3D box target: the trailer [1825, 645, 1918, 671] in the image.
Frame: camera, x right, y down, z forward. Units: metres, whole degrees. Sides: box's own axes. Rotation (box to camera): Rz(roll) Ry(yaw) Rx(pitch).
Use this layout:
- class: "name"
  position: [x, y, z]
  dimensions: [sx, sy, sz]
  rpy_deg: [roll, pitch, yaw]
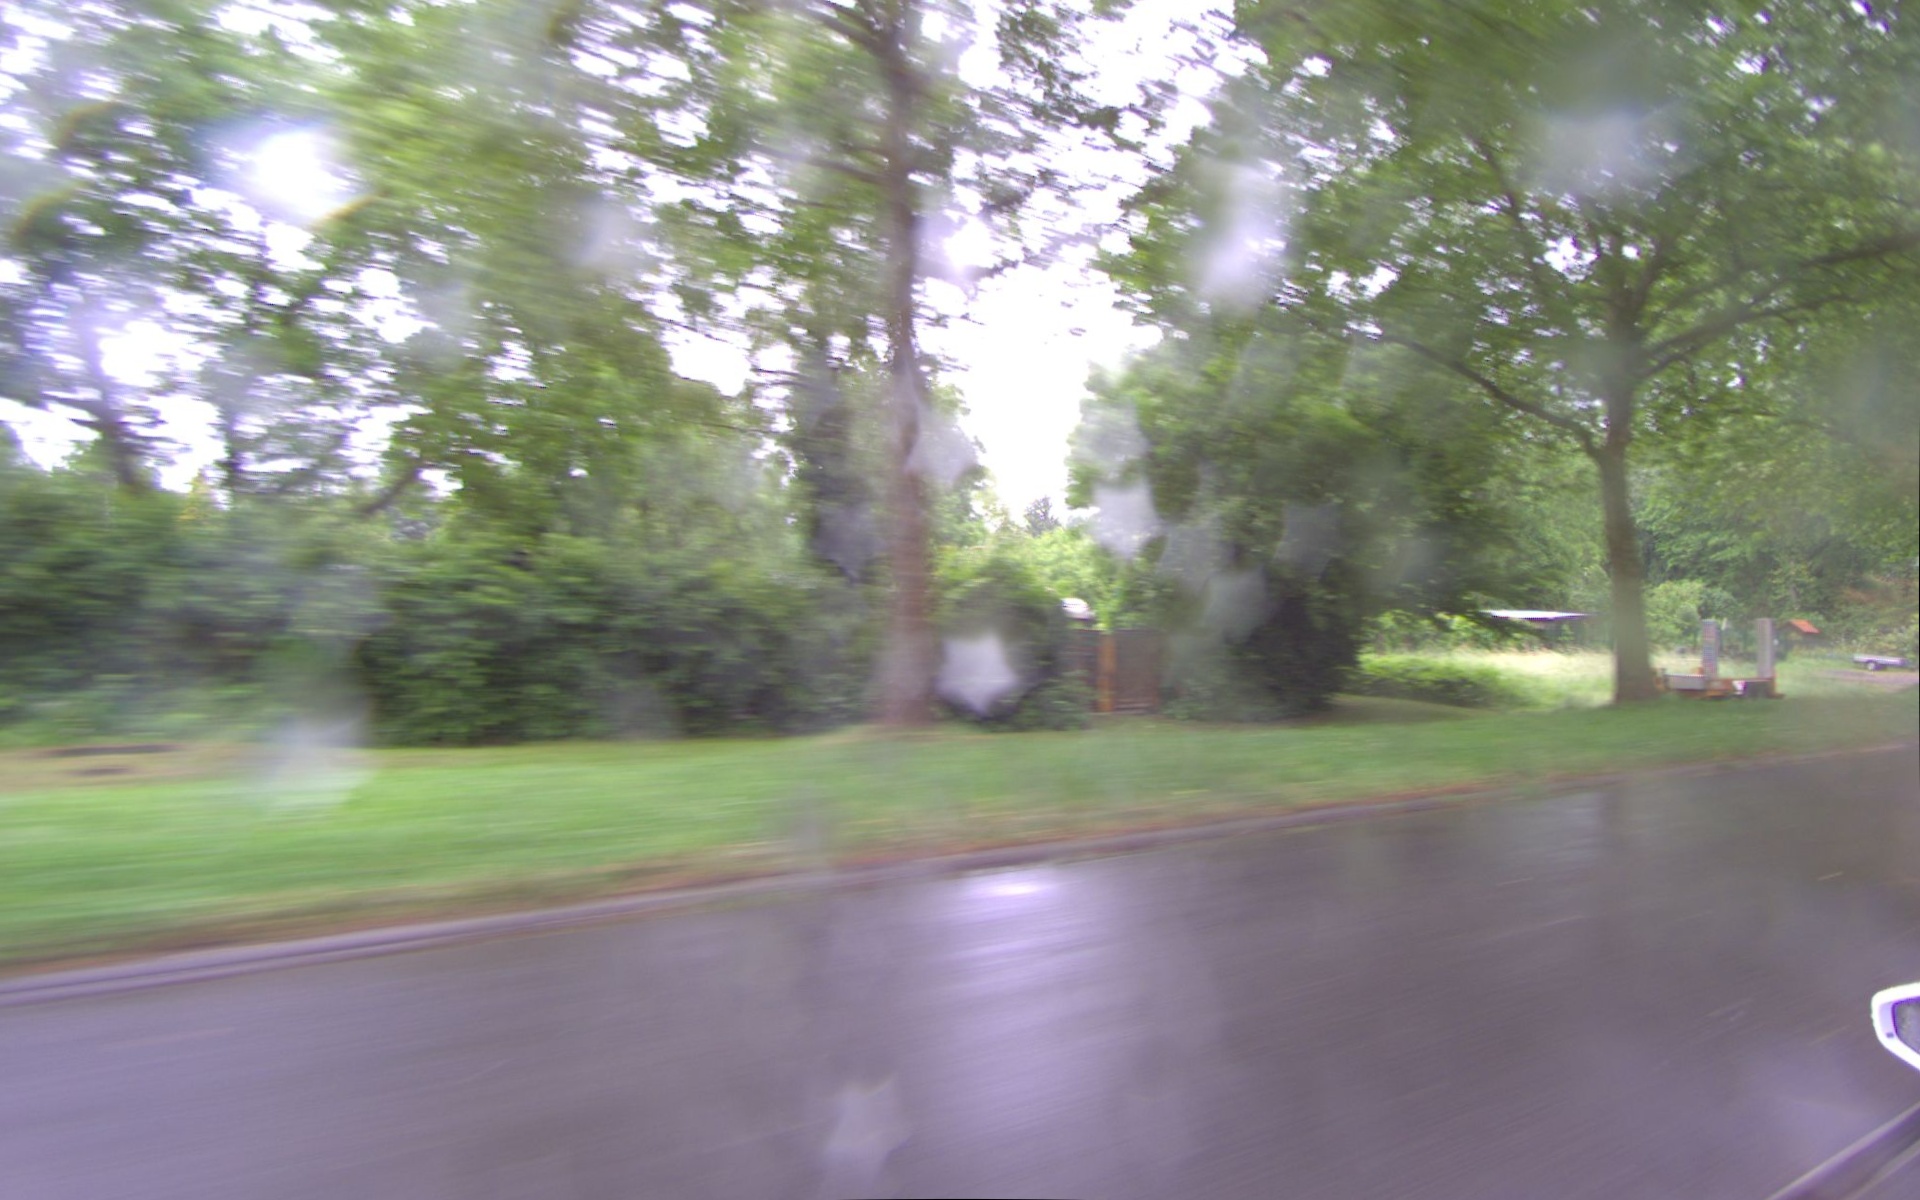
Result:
- class: "trailer"
  position: [49.559, 3.119, 54.664]
  dimensions: [1.806, 1.194, 3.526]
  rpy_deg: [1, 0, -38]

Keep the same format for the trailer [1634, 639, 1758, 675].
- class: "trailer"
  position: [33.444, 2.562, 45.751]
  dimensions: [1.982, 1.394, 4.201]
  rpy_deg: [1, 0, -38]

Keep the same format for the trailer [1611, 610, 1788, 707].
- class: "trailer"
  position: [22.446, 1.715, 30.458]
  dimensions: [5.272, 2.602, 2.472]
  rpy_deg: [2, 1, -32]
